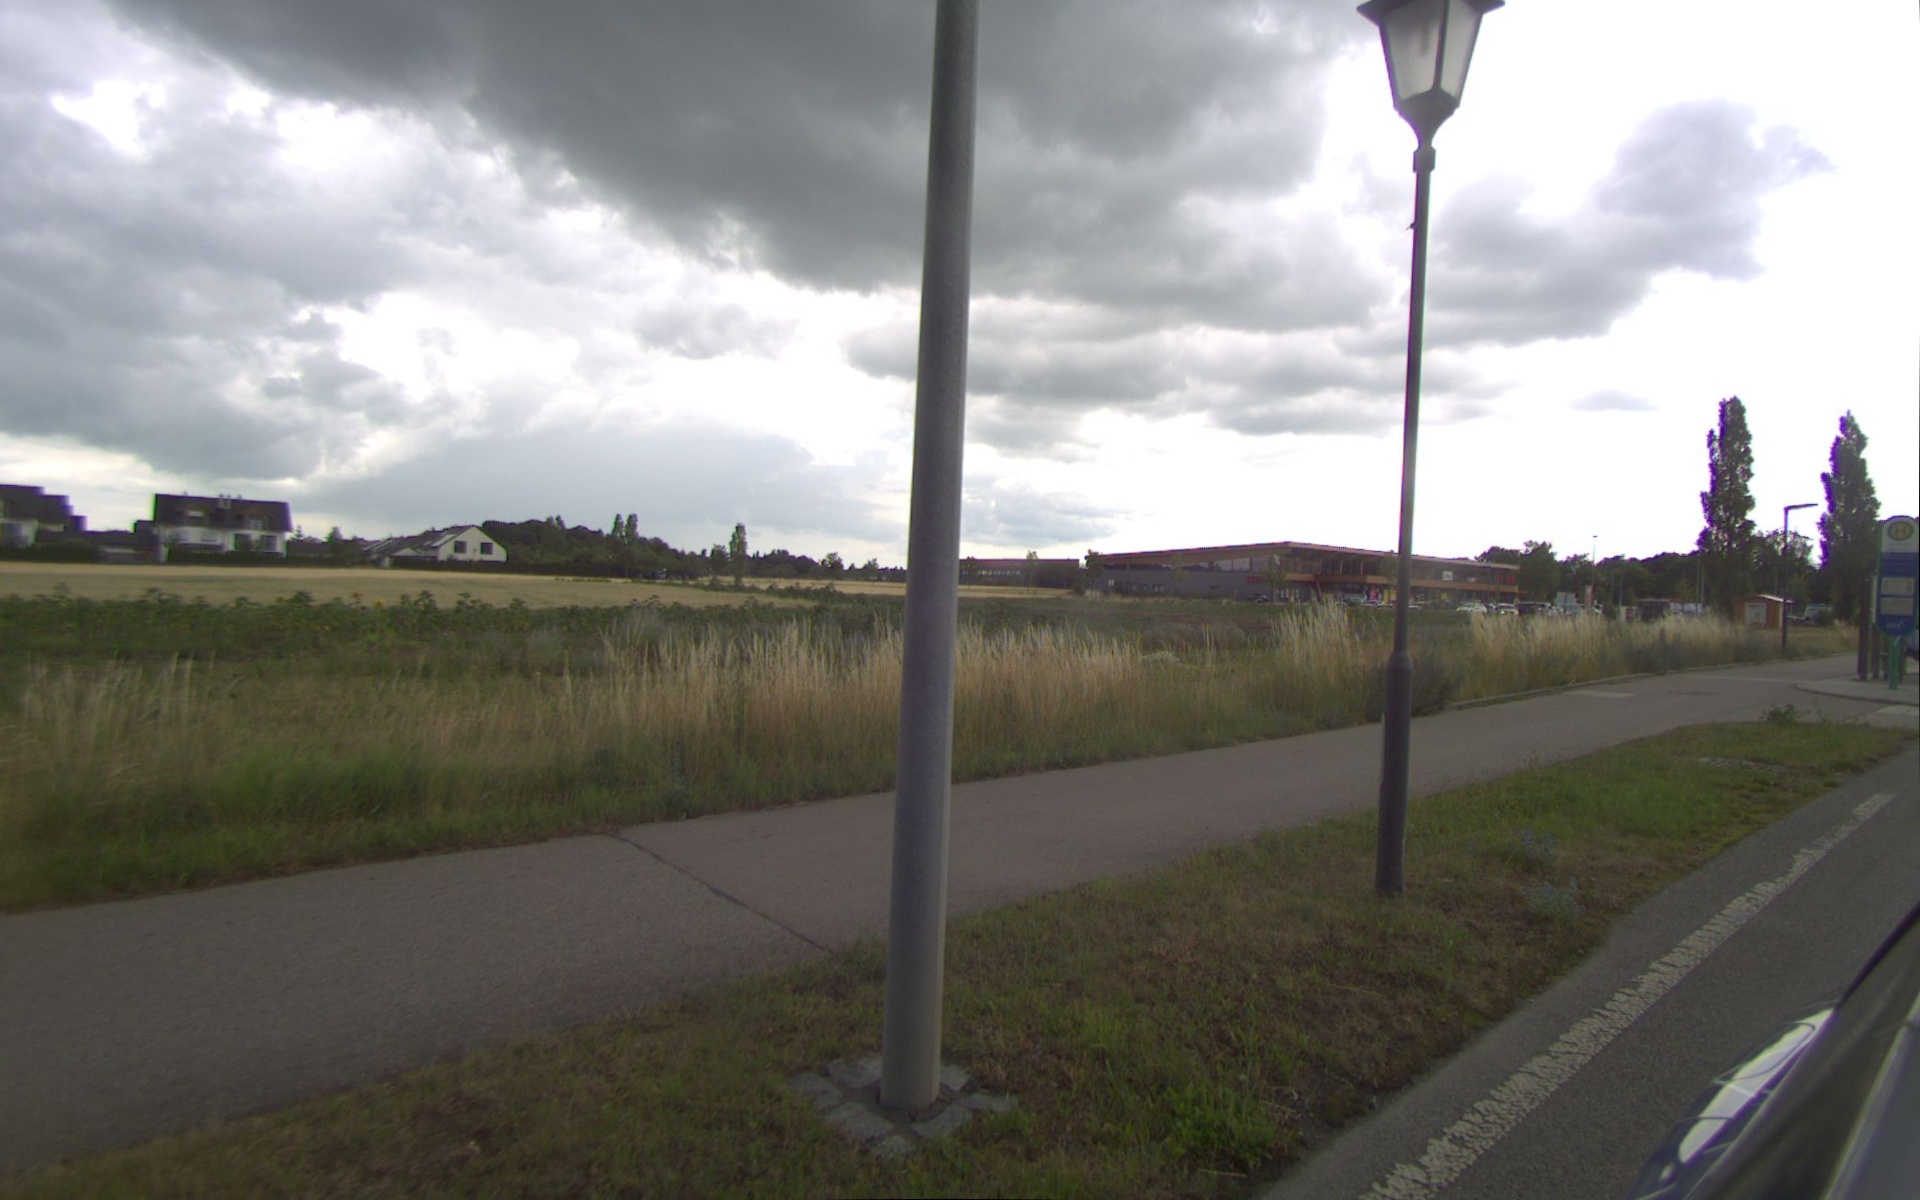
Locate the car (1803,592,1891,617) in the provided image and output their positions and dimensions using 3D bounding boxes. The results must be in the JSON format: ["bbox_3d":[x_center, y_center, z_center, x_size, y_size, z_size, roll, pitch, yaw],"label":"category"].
[{"bbox_3d":[75.214,0.354,85.859,5.512,2.039,1.968,0,0,45],"label":"car"}]

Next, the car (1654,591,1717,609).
[{"bbox_3d":[81.923,-0.014,114.317,5.512,2.039,1.968,0,0,45],"label":"car"}]

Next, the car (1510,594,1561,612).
[{"bbox_3d":[66.887,0.362,117.640,4.841,2.039,1.969,0,0,44],"label":"car"}]

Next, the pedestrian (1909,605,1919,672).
[{"bbox_3d":[19.070,0.755,19.831,0.496,1.319,0.665,1,-1,-44],"label":"pedestrian"}]

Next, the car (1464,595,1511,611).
[{"bbox_3d":[65.161,0.364,125.050,4.841,2.039,1.969,0,0,44],"label":"car"}]

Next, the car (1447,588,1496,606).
[{"bbox_3d":[60.744,-0.343,120.312,4.841,2.039,1.969,0,0,44],"label":"car"}]

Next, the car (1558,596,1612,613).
[{"bbox_3d":[78.471,0.580,127.109,5.512,2.039,1.968,0,0,45],"label":"car"}]
